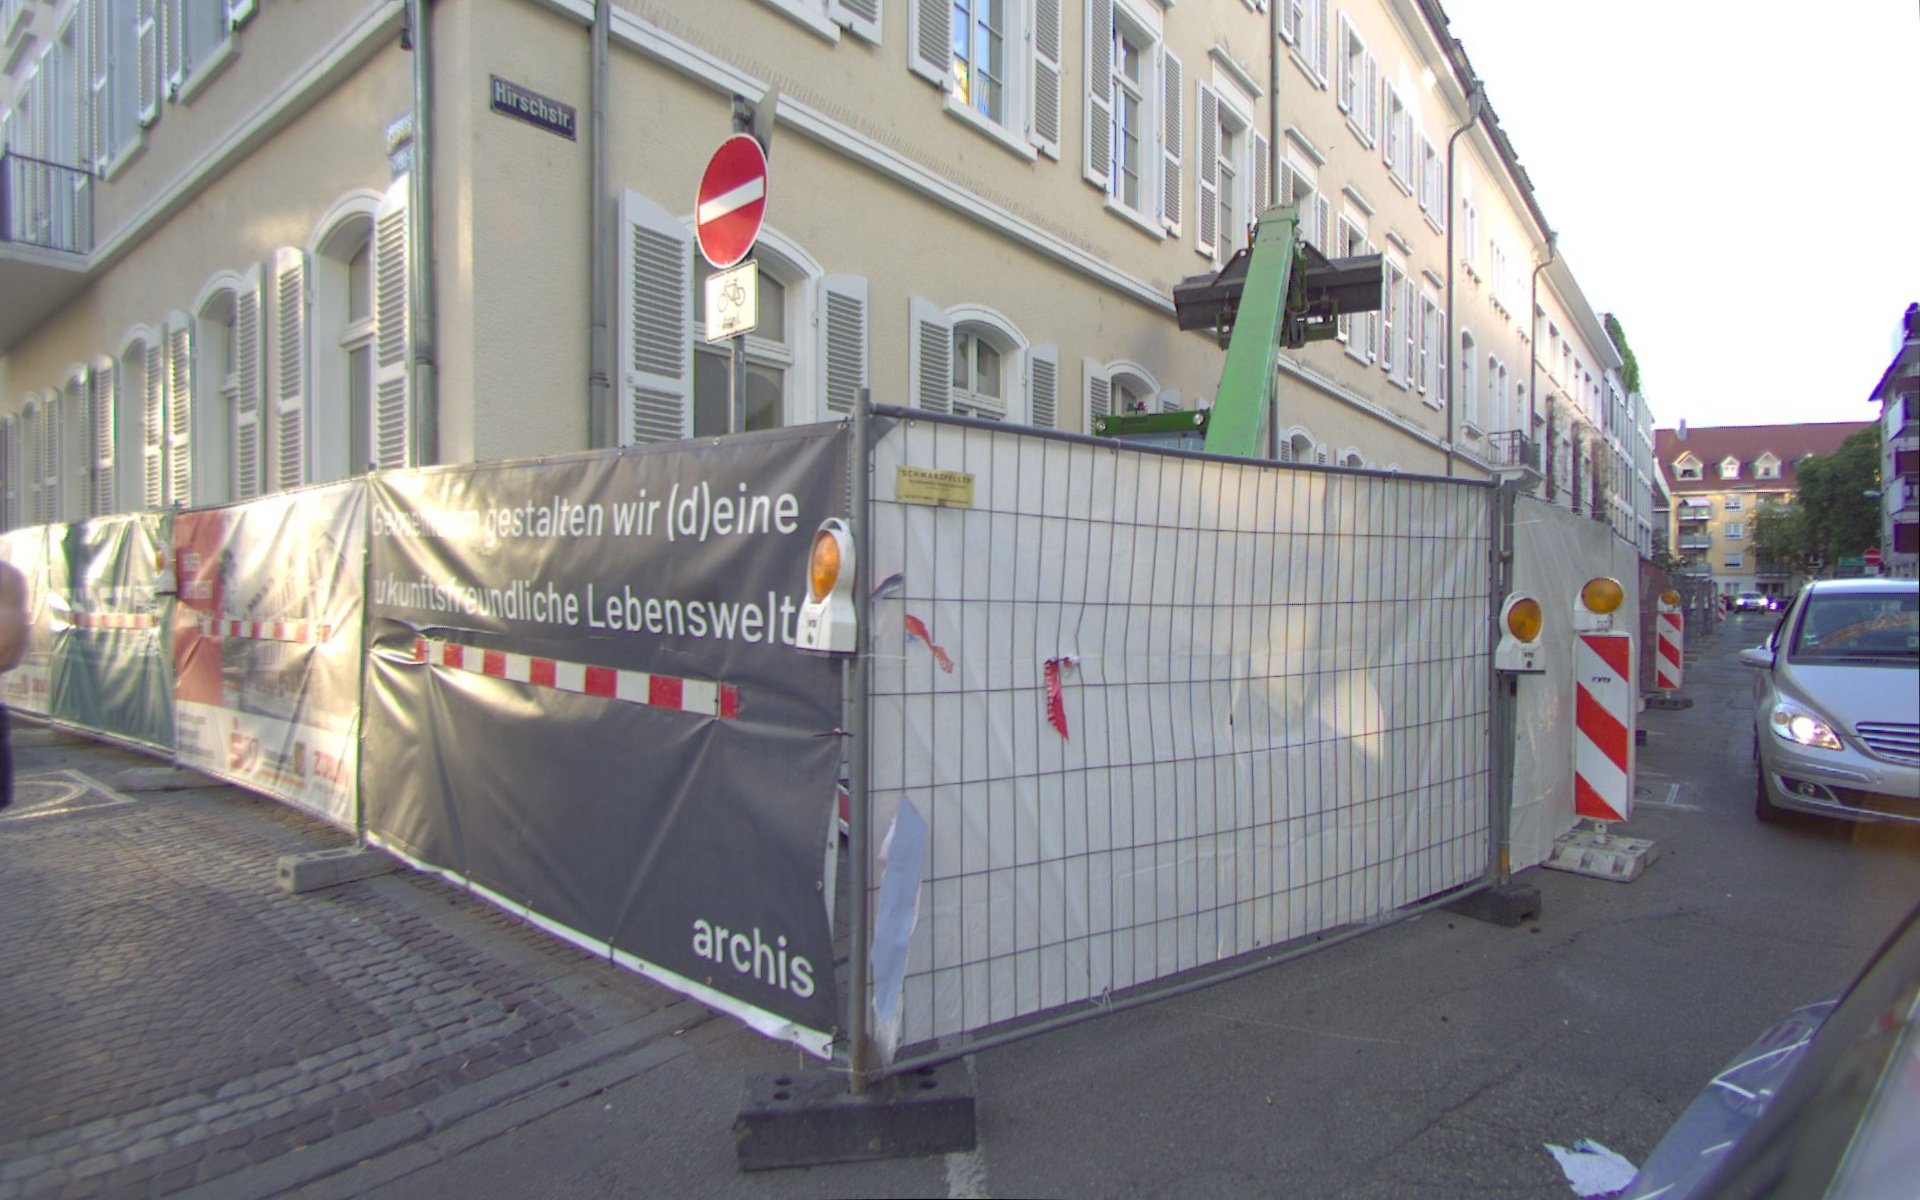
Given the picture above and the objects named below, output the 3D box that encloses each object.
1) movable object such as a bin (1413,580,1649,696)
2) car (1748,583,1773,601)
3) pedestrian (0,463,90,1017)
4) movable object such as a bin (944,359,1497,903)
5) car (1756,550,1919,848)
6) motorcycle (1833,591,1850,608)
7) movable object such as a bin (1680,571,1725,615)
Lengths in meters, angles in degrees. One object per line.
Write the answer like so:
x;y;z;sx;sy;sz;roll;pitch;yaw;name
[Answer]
10.622;0.515;18.396;2.729;1.659;7.450;0;0;37;movable object such as a bin
62.356;-0.618;78.851;1.532;1.342;3.307;0;1;38;car
-3.693;0.460;3.617;0.792;1.842;1.070;-2;2;-44;pedestrian
2.269;0.118;7.886;2.600;2.874;4.387;1;1;39;movable object such as a bin
6.744;0.563;7.098;1.796;1.637;4.213;1;0;38;car
73.619;-0.068;84.537;1.925;1.370;0.858;0;0;-42;motorcycle
47.538;-0.402;64.752;2.012;2.657;5.669;-3;-2;39;movable object such as a bin
